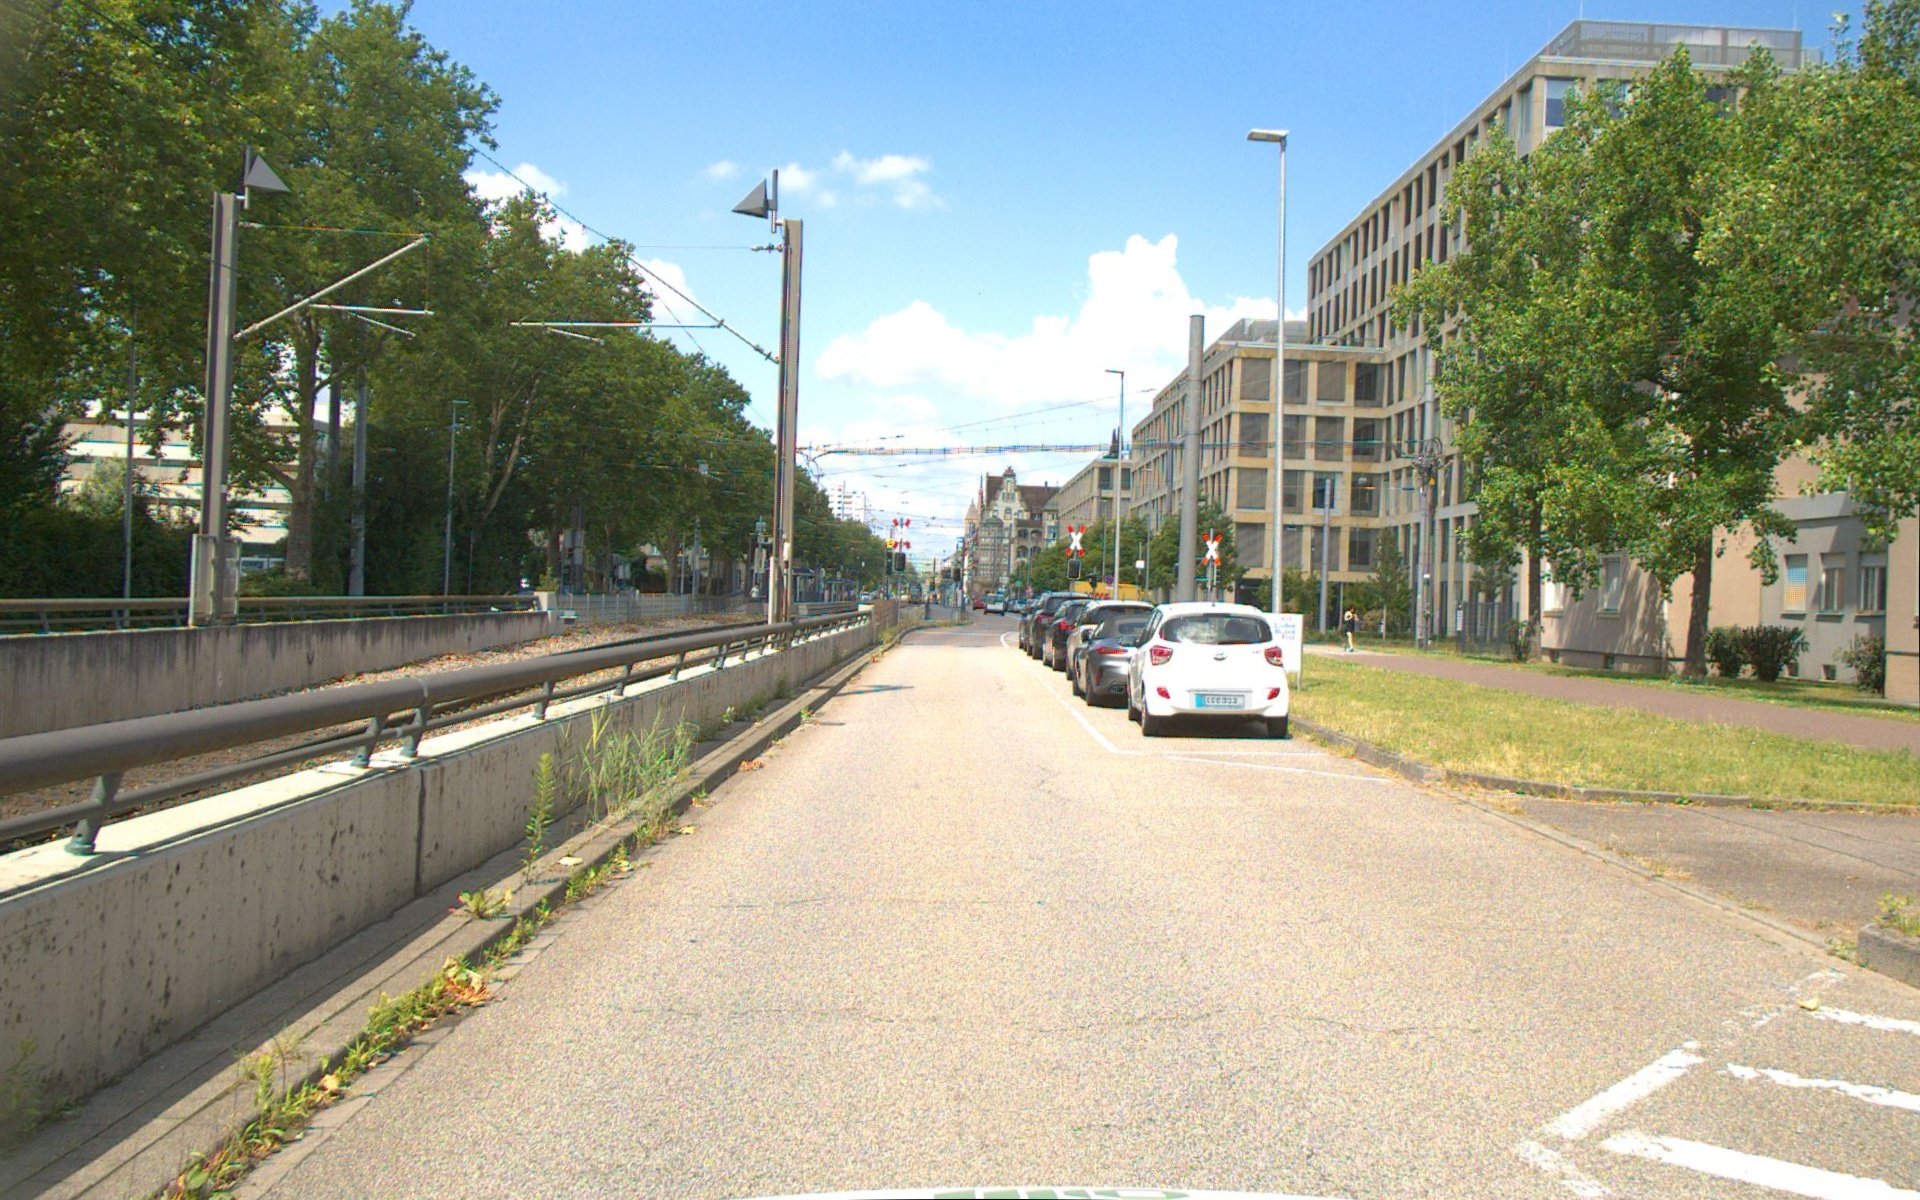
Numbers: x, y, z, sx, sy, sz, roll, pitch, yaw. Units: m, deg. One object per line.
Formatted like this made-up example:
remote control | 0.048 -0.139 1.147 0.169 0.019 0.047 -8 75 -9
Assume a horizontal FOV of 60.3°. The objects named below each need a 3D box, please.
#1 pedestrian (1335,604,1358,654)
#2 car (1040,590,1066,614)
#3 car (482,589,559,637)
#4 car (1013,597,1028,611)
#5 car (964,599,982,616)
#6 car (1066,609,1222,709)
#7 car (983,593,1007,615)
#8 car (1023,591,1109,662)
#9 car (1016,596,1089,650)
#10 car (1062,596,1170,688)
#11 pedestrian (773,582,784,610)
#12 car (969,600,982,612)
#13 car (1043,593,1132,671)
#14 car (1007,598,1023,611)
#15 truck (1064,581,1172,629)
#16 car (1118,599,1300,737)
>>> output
pedestrian | 12.912 0.964 55.269 0.610 1.636 0.624 1 -1 -4
car | 7.886 0.168 140.334 1.843 1.973 4.842 1 0 -1
car | -15.809 0.435 59.691 1.633 1.625 4.297 1 0 -1
car | 7.053 0.465 194.001 1.559 1.485 3.612 4 0 0
car | 1.544 0.890 195.671 1.953 2.049 3.999 1 0 -1
car | 2.695 0.827 25.116 1.787 1.335 4.441 1 0 -1
car | 3.057 0.324 144.453 1.831 1.777 3.999 4 0 -2
car | 2.642 0.623 42.137 1.779 1.691 4.670 1 0 -1
car | 2.673 0.641 48.811 1.779 1.479 4.989 1 0 -1
car | 2.760 0.714 29.944 1.635 1.541 3.851 1 0 1
pedestrian | -12.571 -0.272 114.666 0.692 1.877 0.864 1 -1 -2
car | 1.836 0.698 195.974 1.414 1.496 4.090 0 0 -3
car | 2.717 0.658 35.984 1.610 1.557 4.442 1 0 1
car | 6.830 0.508 205.194 1.560 1.459 4.105 4 0 -3
truck | 10.387 0.338 109.009 6.671 2.917 2.453 2 -1 -3
car | 2.943 0.757 20.219 1.672 1.505 3.789 1 0 0
